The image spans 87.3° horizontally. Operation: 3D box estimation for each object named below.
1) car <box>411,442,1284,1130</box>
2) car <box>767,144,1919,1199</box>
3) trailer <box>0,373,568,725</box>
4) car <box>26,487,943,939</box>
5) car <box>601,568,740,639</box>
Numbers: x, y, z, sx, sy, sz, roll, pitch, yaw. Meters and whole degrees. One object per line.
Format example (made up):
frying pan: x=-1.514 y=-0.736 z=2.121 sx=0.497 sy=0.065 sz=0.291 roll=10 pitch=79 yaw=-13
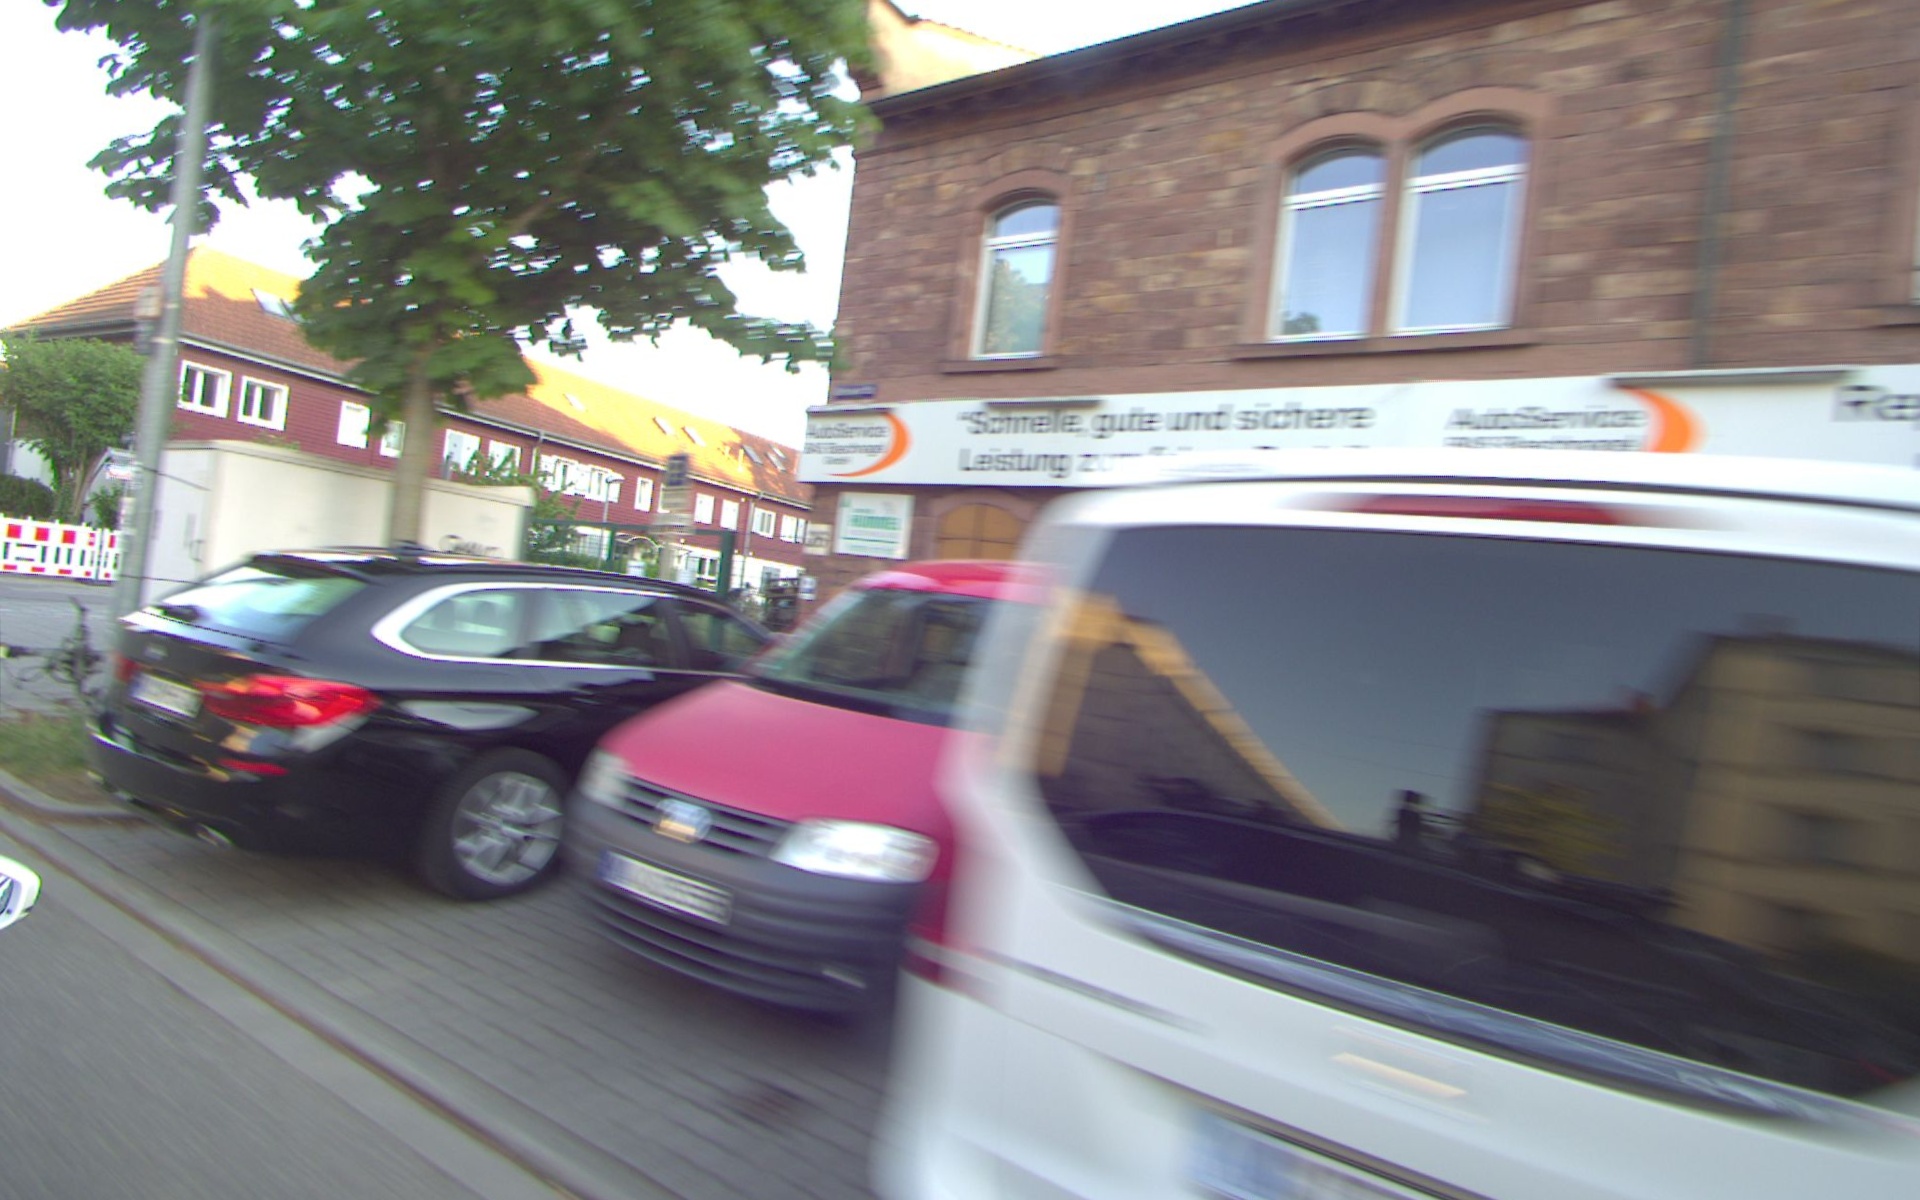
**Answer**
car: x=0.021 y=0.621 z=4.982 sx=1.873 sy=1.820 sz=4.309 roll=6 pitch=-2 yaw=32
car: x=1.586 y=0.597 z=3.083 sx=1.967 sy=1.925 sz=3.995 roll=6 pitch=-2 yaw=32
trailer: x=-5.766 y=-0.204 z=8.498 sx=1.967 sy=2.213 sz=3.994 roll=6 pitch=-2 yaw=32
car: x=-2.094 y=0.552 z=5.801 sx=1.744 sy=1.516 sz=4.435 roll=6 pitch=-2 yaw=32
car: x=-9.395 y=0.160 z=32.941 sx=1.966 sy=1.788 sz=3.997 roll=6 pitch=-2 yaw=29
